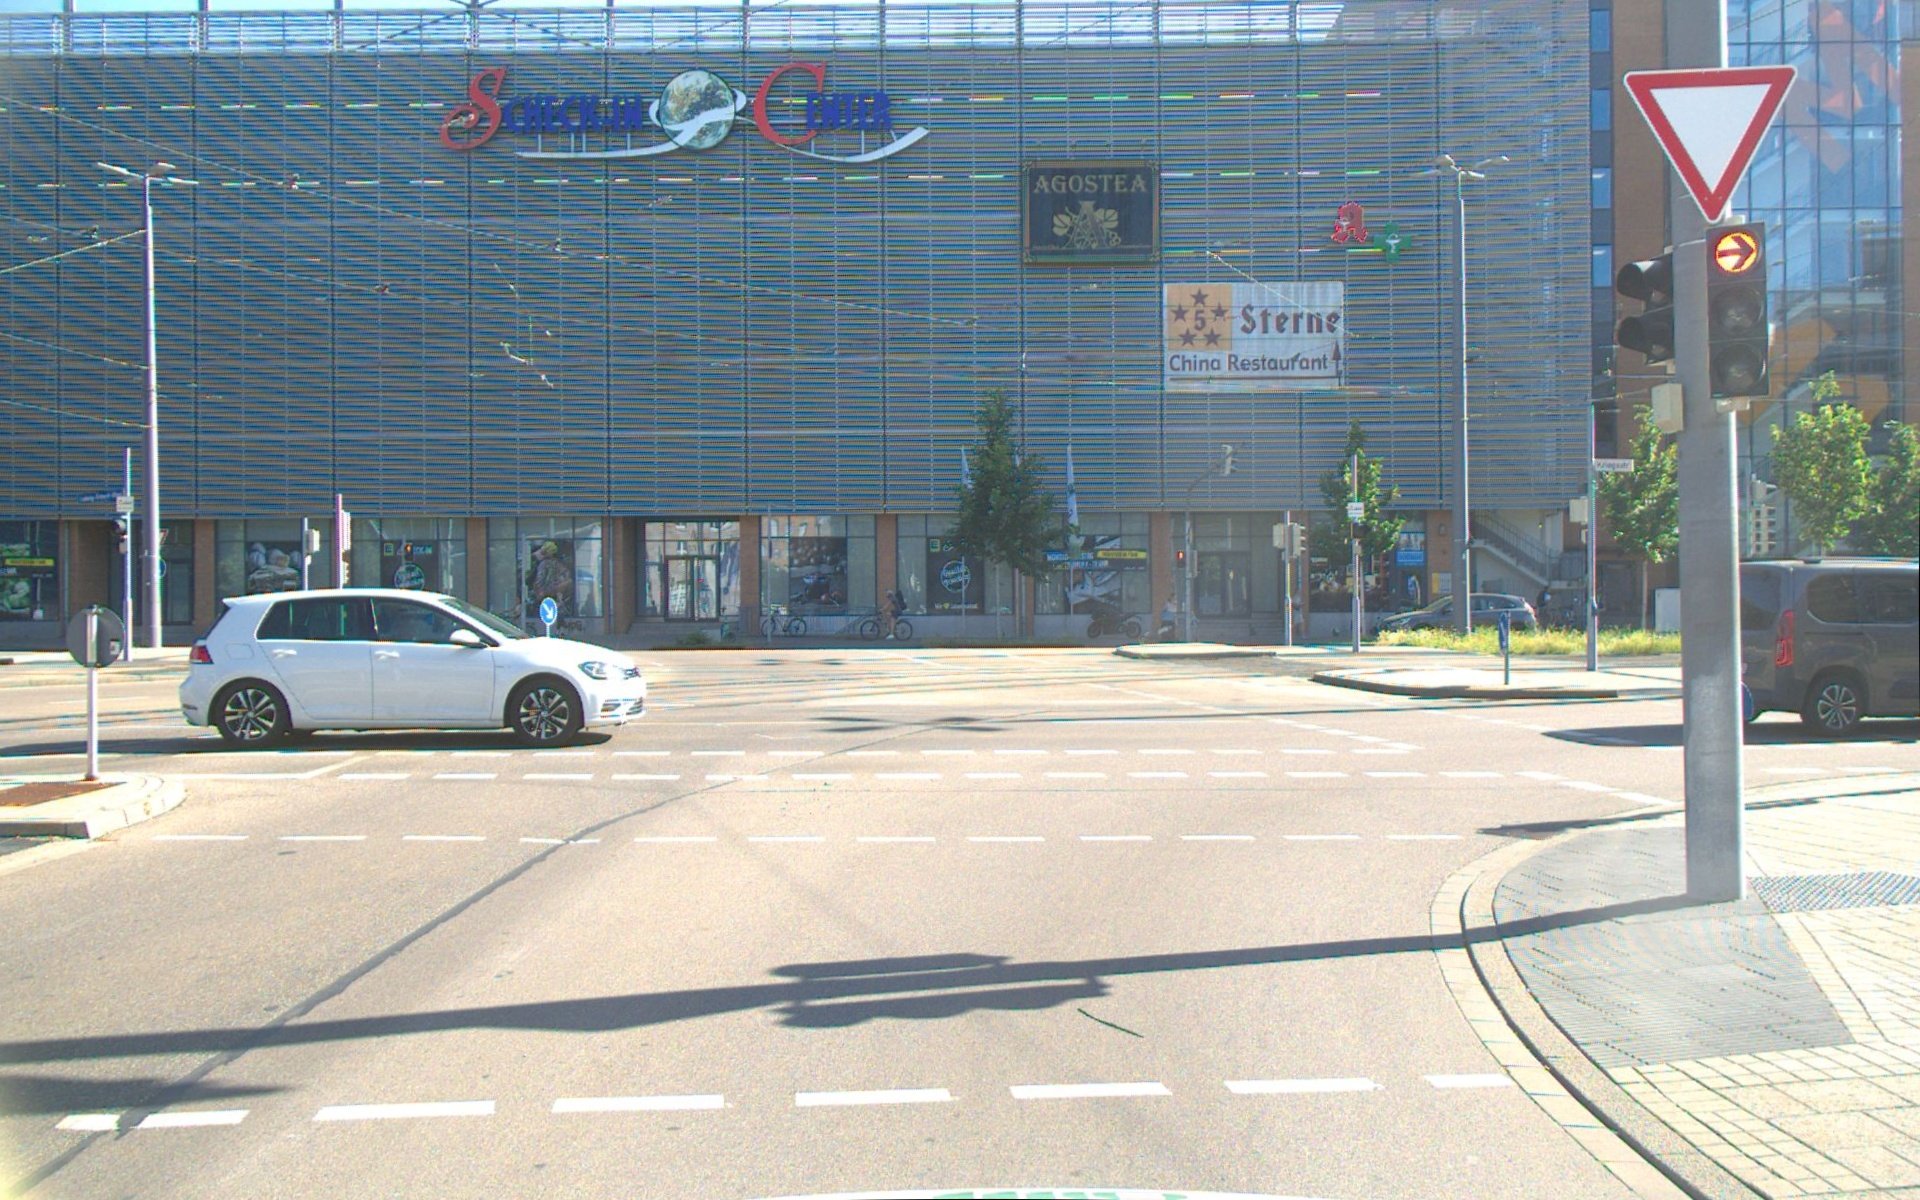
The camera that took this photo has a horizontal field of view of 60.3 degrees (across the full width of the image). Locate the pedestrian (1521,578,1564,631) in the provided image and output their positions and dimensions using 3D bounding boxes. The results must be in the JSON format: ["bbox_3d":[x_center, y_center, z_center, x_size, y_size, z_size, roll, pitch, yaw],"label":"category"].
[{"bbox_3d":[21.062,0.161,59.776,0.999,1.860,1.028,-2,0,-23],"label":"pedestrian"}]

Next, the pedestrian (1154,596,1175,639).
[{"bbox_3d":[6.863,0.578,55.365,0.641,1.438,0.850,1,0,10],"label":"pedestrian"}]

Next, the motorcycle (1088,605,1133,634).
[{"bbox_3d":[5.535,0.729,60.709,1.605,1.022,0.447,1,0,6],"label":"motorcycle"}]

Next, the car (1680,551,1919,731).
[{"bbox_3d":[10.344,0.404,18.012,4.376,1.823,1.706,0,0,-9],"label":"car"}]

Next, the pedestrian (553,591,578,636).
[{"bbox_3d":[-14.554,0.506,61.061,0.646,1.629,0.594,1,-1,18],"label":"pedestrian"}]

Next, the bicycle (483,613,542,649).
[{"bbox_3d":[-14.761,1.009,54.620,0.559,1.105,1.852,0,2,42],"label":"bicycle"}]

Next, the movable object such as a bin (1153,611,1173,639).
[{"bbox_3d":[6.747,0.832,54.898,0.599,0.920,0.970,1,0,10],"label":"movable object such as a bin"}]

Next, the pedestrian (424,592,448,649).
[{"bbox_3d":[-17.332,0.665,54.669,0.683,1.829,0.727,-2,0,-17],"label":"pedestrian"}]

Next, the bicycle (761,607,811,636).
[{"bbox_3d":[-6.359,0.781,60.434,1.783,1.006,0.556,0,1,-11],"label":"bicycle"}]

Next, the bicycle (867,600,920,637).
[{"bbox_3d":[-2.327,0.657,58.227,1.819,1.238,0.569,-1,1,-2],"label":"bicycle"}]

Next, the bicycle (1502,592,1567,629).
[{"bbox_3d":[21.295,0.391,61.353,2.209,1.318,0.605,1,-1,-2],"label":"bicycle"}]

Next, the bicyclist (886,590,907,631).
[{"bbox_3d":[-2.233,0.352,58.194,0.738,1.410,0.565,-1,1,-1],"label":"bicyclist"}]

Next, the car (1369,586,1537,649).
[{"bbox_3d":[13.676,0.496,46.047,4.063,1.495,1.840,3,-1,-2],"label":"car"}]

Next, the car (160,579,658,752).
[{"bbox_3d":[-5.106,0.573,15.847,4.200,1.498,1.863,-1,0,-6],"label":"car"}]

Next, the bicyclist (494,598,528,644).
[{"bbox_3d":[-14.793,0.692,54.545,0.663,1.452,0.844,0,2,42],"label":"bicyclist"}]

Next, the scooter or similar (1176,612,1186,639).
[{"bbox_3d":[7.372,0.835,55.191,0.288,0.888,1.004,1,0,10],"label":"scooter or similar"}]

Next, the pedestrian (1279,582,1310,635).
[{"bbox_3d":[12.009,0.311,59.397,0.930,1.860,0.846,-2,-4,5],"label":"pedestrian"}]

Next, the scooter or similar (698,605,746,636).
[{"bbox_3d":[-8.740,0.749,60.781,1.759,1.085,0.611,0,1,-9],"label":"scooter or similar"}]
